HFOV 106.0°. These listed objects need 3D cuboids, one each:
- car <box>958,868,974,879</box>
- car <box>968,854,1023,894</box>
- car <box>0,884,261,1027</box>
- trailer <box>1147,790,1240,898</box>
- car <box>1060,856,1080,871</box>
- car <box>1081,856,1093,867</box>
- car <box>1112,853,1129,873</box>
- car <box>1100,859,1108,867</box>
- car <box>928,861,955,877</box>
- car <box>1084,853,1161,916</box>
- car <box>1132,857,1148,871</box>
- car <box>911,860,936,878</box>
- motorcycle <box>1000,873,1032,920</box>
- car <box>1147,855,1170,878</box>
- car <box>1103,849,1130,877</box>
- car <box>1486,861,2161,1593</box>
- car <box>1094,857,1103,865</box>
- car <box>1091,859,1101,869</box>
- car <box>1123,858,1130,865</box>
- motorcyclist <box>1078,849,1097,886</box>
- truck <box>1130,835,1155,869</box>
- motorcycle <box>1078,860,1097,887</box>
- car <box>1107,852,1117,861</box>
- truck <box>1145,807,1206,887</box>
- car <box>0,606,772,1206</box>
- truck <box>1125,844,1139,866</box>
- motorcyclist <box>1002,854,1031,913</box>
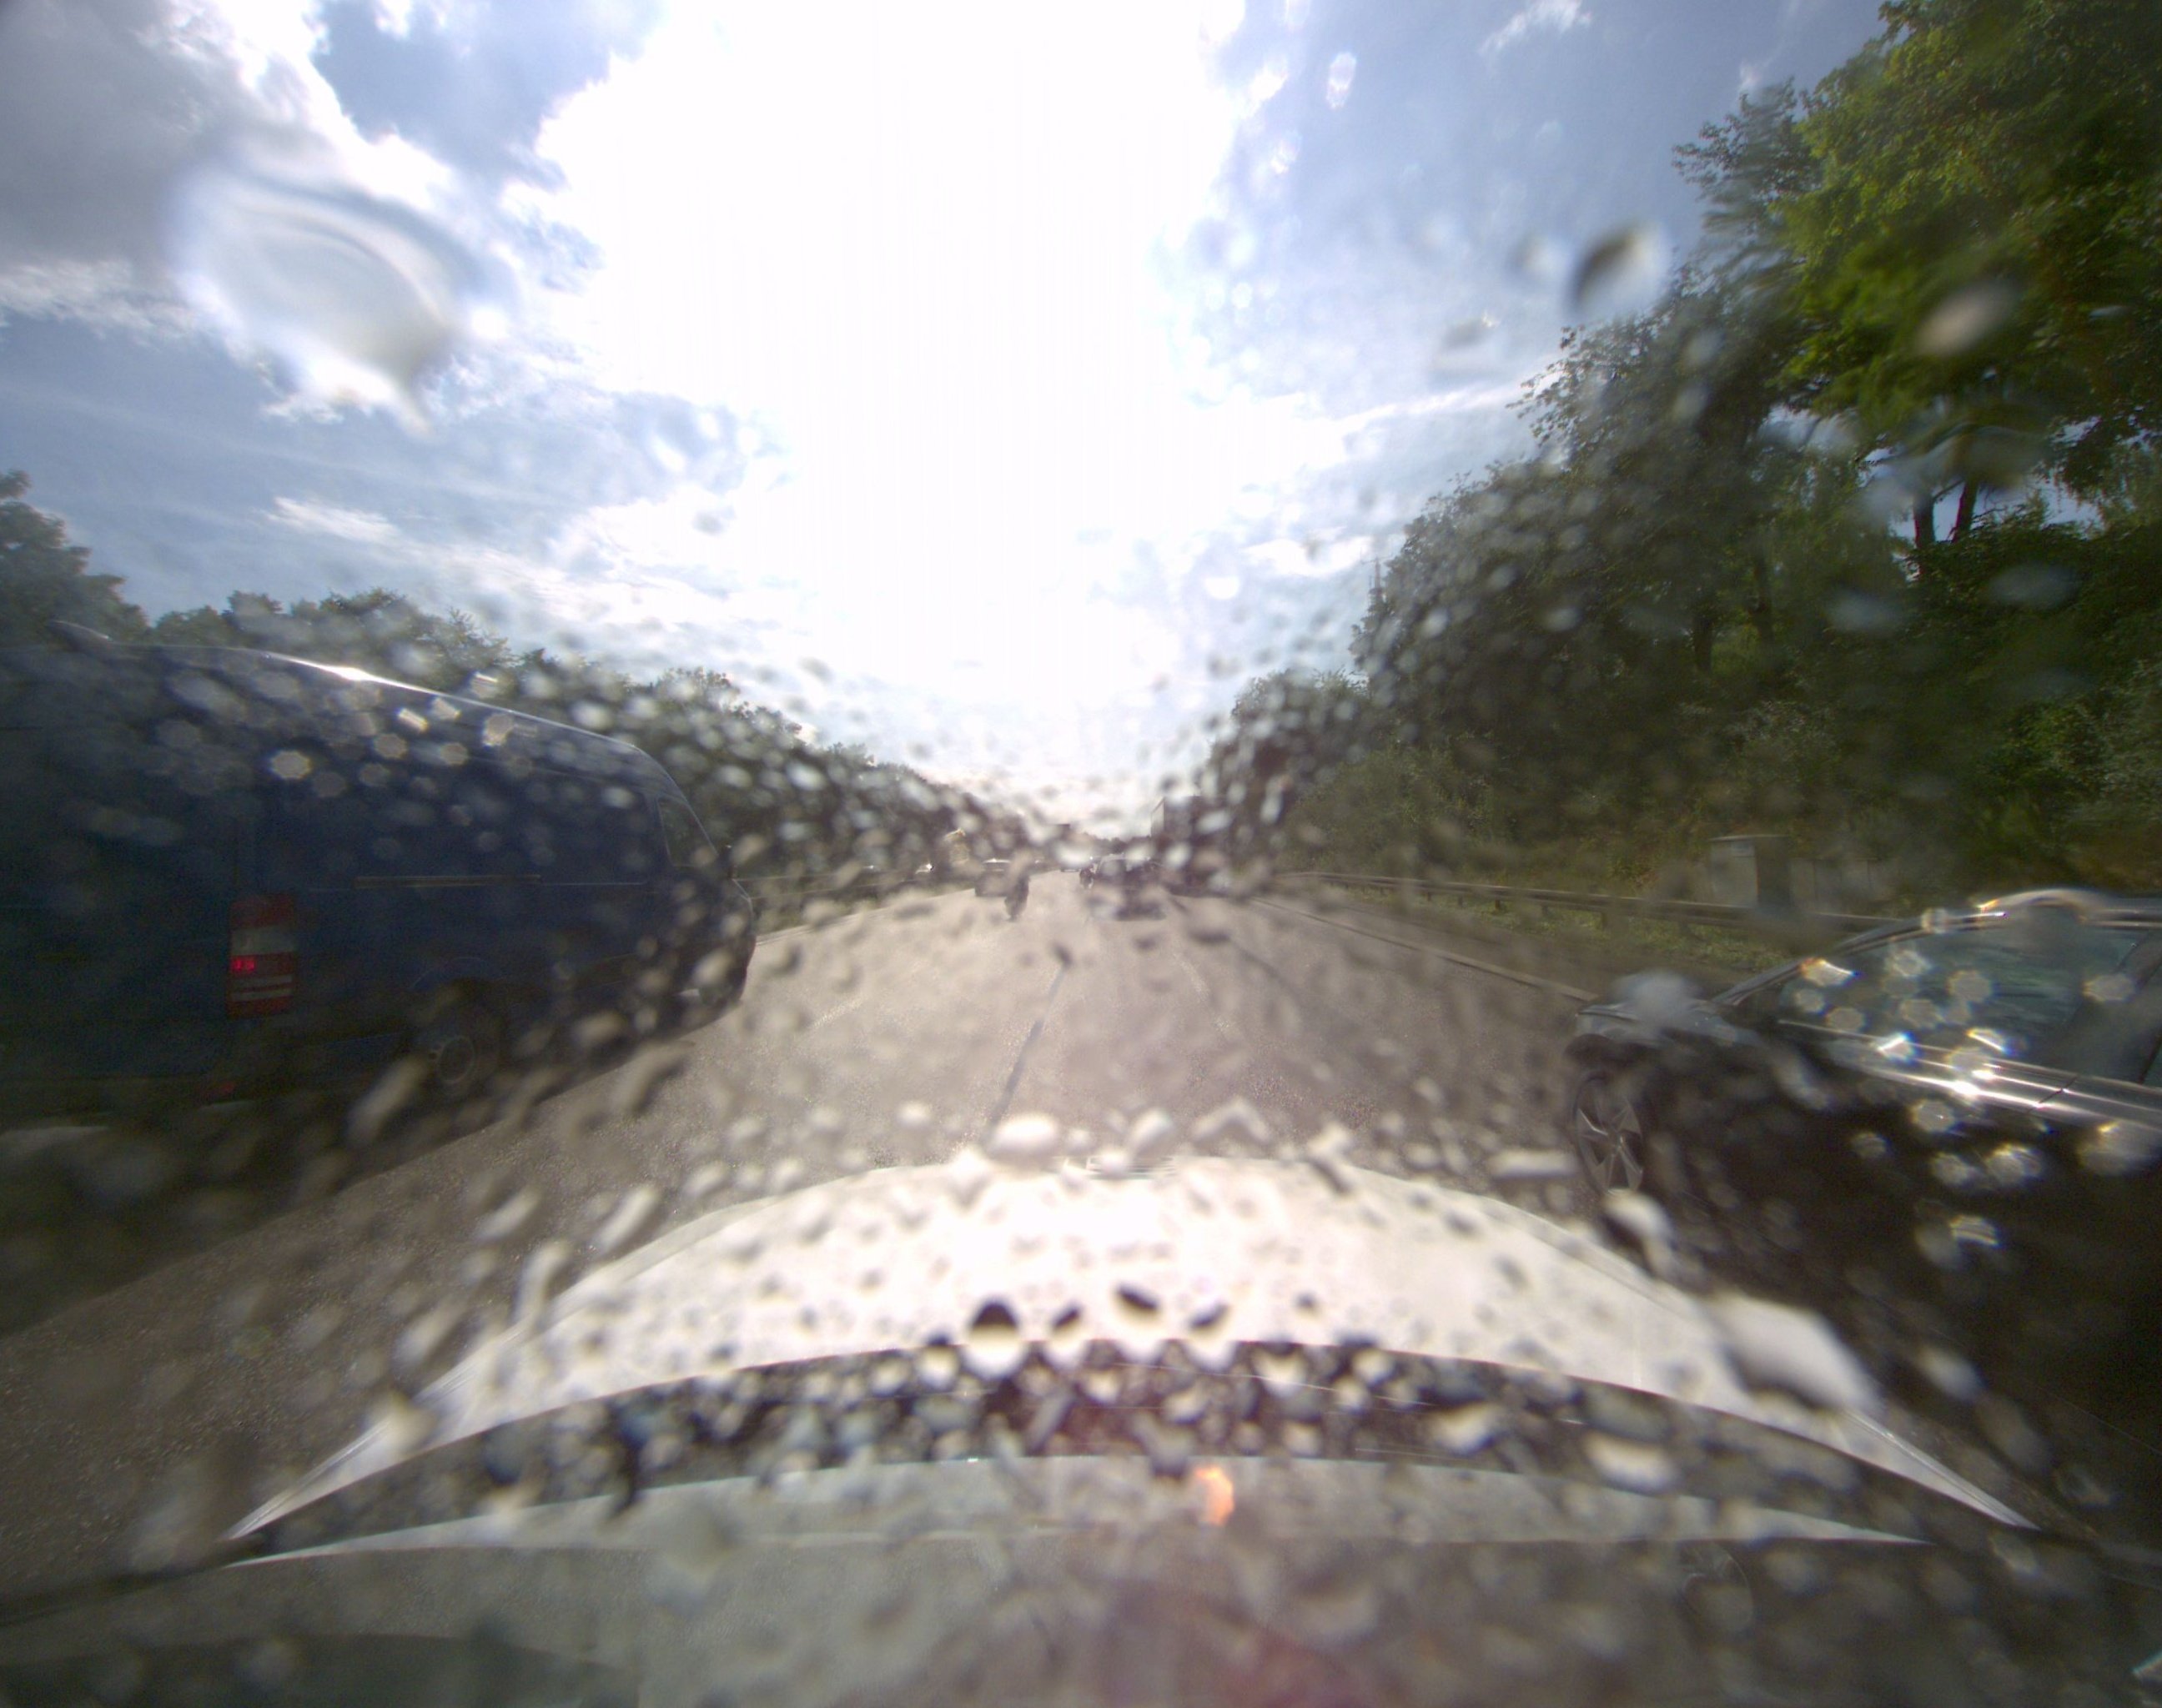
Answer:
[{"bbox_3d":[-16.639,2.763,117.818,1.624,1.482,3.788,-1,0,3],"label":"car"},{"bbox_3d":[-3.636,0.814,35.277,1.751,1.595,4.332,-1,0,2],"label":"car"},{"bbox_3d":[-17.407,1.633,14.320,1.825,2.013,4.002,0,0,2],"label":"car"},{"bbox_3d":[5.122,-0.368,40.094,3.076,4.312,14.111,-1,0,2],"label":"trailer"},{"bbox_3d":[-1.194,1.004,88.516,1.886,1.628,4.197,-1,0,2],"label":"car"},{"bbox_3d":[0.869,1.118,121.511,1.669,1.597,3.438,-1,0,2],"label":"car"},{"bbox_3d":[4.050,0.935,84.332,1.669,1.936,3.775,-1,0,2],"label":"car"},{"bbox_3d":[5.976,2.352,213.655,1.986,2.014,4.002,-1,-1,2],"label":"car"},{"bbox_3d":[-14.413,1.535,84.116,1.914,1.580,4.002,-2,0,2],"label":"car"},{"bbox_3d":[1.117,0.776,22.647,1.907,1.565,4.316,-1,0,2],"label":"car"},{"bbox_3d":[6.821,1.154,94.125,1.669,1.490,3.438,-1,0,2],"label":"car"},{"bbox_3d":[-18.361,1.719,94.867,1.986,2.013,4.002,0,0,2],"label":"car"},{"bbox_3d":[-1.641,1.053,20.780,0.674,1.087,1.981,0,0,-1],"label":"motorcycle"},{"bbox_3d":[7.033,1.172,74.316,1.841,2.014,4.090,-1,-1,3],"label":"car"},{"bbox_3d":[2.675,0.670,61.640,1.986,2.014,4.001,-1,-1,2],"label":"car"},{"bbox_3d":[3.005,0.739,2.222,1.748,1.396,4.370,-1,0,2],"label":"car"},{"bbox_3d":[4.140,1.691,193.959,1.986,2.014,4.002,-1,-1,2],"label":"car"},{"bbox_3d":[3.235,2.149,173.153,1.986,2.014,4.002,-1,-1,2],"label":"car"},{"bbox_3d":[12.828,2.028,230.083,1.986,2.014,4.001,-1,-1,2],"label":"car"},{"bbox_3d":[0.335,0.635,39.653,0.818,1.761,1.391,-1,-1,3],"label":"motorcyclist"},{"bbox_3d":[8.311,-0.228,111.122,3.189,4.404,9.438,-1,0,3],"label":"truck"},{"bbox_3d":[0.342,0.948,39.645,0.816,1.263,2.119,-1,0,3],"label":"motorcycle"},{"bbox_3d":[5.163,0.402,135.812,1.625,1.490,3.438,-1,0,2],"label":"car"},{"bbox_3d":[5.380,-0.330,47.330,3.040,4.325,5.889,-1,-1,2],"label":"truck"},{"bbox_3d":[-4.683,0.254,6.516,2.008,2.648,5.779,-1,0,2],"label":"car"},{"bbox_3d":[11.572,0.241,184.455,2.870,4.688,12.665,-1,-1,2],"label":"truck"},{"bbox_3d":[-1.637,0.735,20.734,0.668,1.442,1.019,-1,-1,-1],"label":"motorcyclist"}]
